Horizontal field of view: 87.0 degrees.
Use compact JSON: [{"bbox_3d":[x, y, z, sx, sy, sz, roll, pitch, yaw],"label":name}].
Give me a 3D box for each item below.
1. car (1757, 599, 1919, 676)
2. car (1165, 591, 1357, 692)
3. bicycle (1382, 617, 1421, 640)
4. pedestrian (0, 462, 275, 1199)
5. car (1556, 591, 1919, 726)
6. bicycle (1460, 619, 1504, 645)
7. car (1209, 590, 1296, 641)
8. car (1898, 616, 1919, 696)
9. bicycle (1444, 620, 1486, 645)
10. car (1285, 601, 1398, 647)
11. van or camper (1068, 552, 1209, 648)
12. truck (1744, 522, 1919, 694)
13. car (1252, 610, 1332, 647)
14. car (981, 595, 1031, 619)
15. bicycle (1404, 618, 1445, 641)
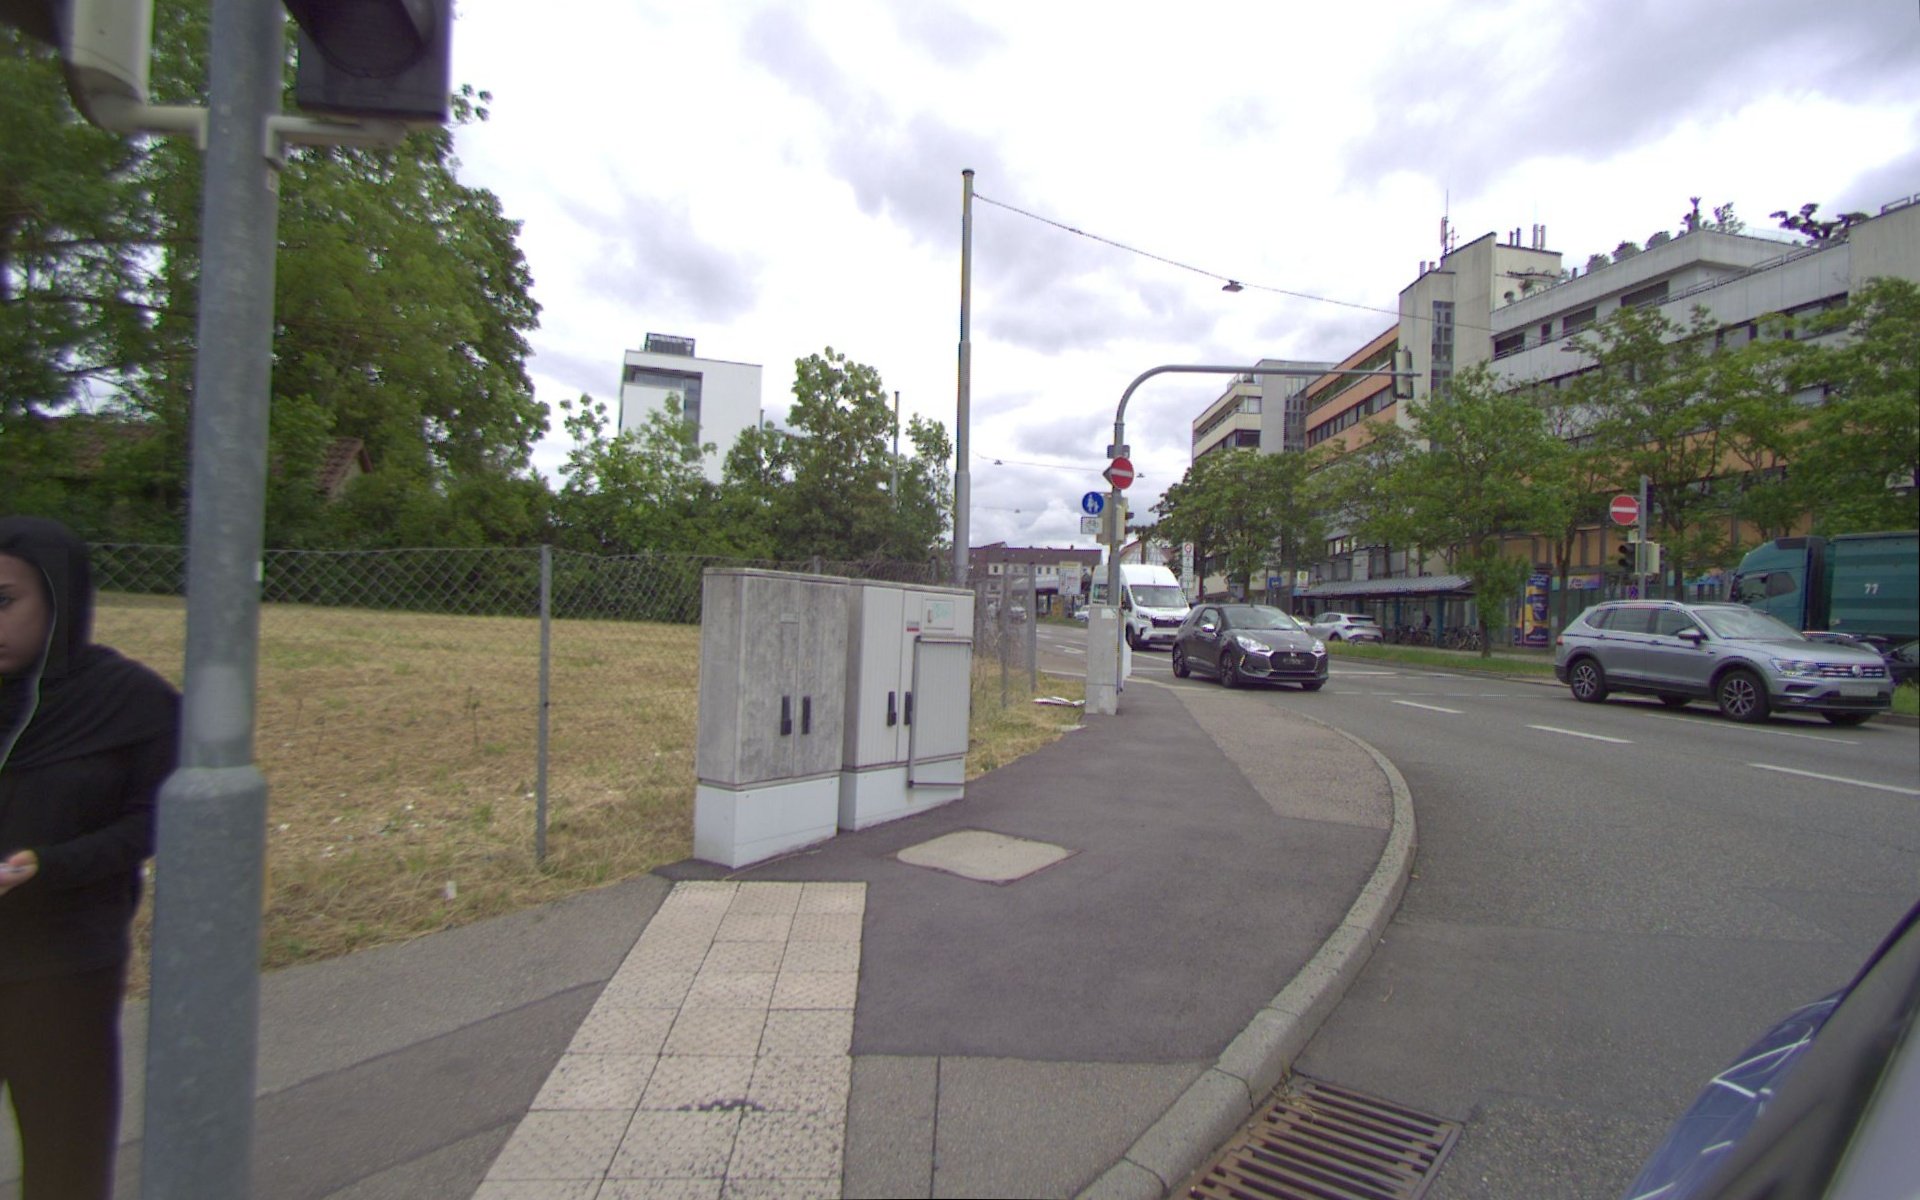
[{"bbox_3d":[19.451,0.799,21.211,1.766,1.435,4.008,6,-1,-12],"label":"car"},{"bbox_3d":[5.300,0.701,18.403,1.827,1.544,4.005,3,-1,-7],"label":"car"},{"bbox_3d":[23.650,1.502,54.257,2.028,1.168,0.713,0,1,-23],"label":"bicycle"},{"bbox_3d":[-1.715,0.579,1.817,0.594,1.617,0.610,1,2,-9],"label":"pedestrian"},{"bbox_3d":[11.276,0.752,14.937,1.959,1.671,4.399,1,-1,-8],"label":"car"},{"bbox_3d":[25.207,1.556,48.882,2.028,1.168,0.713,2,0,-23],"label":"bicycle"},{"bbox_3d":[12.740,0.646,44.356,1.959,2.039,4.186,3,0,-9],"label":"car"},{"bbox_3d":[17.617,1.012,15.453,1.958,1.349,4.454,3,0,-13],"label":"car"},{"bbox_3d":[24.880,1.586,49.821,2.028,1.168,0.713,-1,1,-23],"label":"bicycle"},{"bbox_3d":[15.711,0.944,42.023,1.734,1.605,5.279,3,0,-12],"label":"car"},{"bbox_3d":[5.690,0.029,33.499,2.234,2.741,7.006,3,-1,-10],"label":"van or camper"},{"bbox_3d":[22.965,0.241,20.931,3.309,3.774,11.300,2,0,-10],"label":"truck"},{"bbox_3d":[16.727,1.414,51.197,1.702,1.594,4.515,3,0,-12],"label":"car"},{"bbox_3d":[2.981,0.453,66.535,1.958,1.393,4.009,3,0,-18],"label":"car"},{"bbox_3d":[23.906,1.513,52.111,2.028,1.168,0.713,1,0,-23],"label":"bicycle"}]
